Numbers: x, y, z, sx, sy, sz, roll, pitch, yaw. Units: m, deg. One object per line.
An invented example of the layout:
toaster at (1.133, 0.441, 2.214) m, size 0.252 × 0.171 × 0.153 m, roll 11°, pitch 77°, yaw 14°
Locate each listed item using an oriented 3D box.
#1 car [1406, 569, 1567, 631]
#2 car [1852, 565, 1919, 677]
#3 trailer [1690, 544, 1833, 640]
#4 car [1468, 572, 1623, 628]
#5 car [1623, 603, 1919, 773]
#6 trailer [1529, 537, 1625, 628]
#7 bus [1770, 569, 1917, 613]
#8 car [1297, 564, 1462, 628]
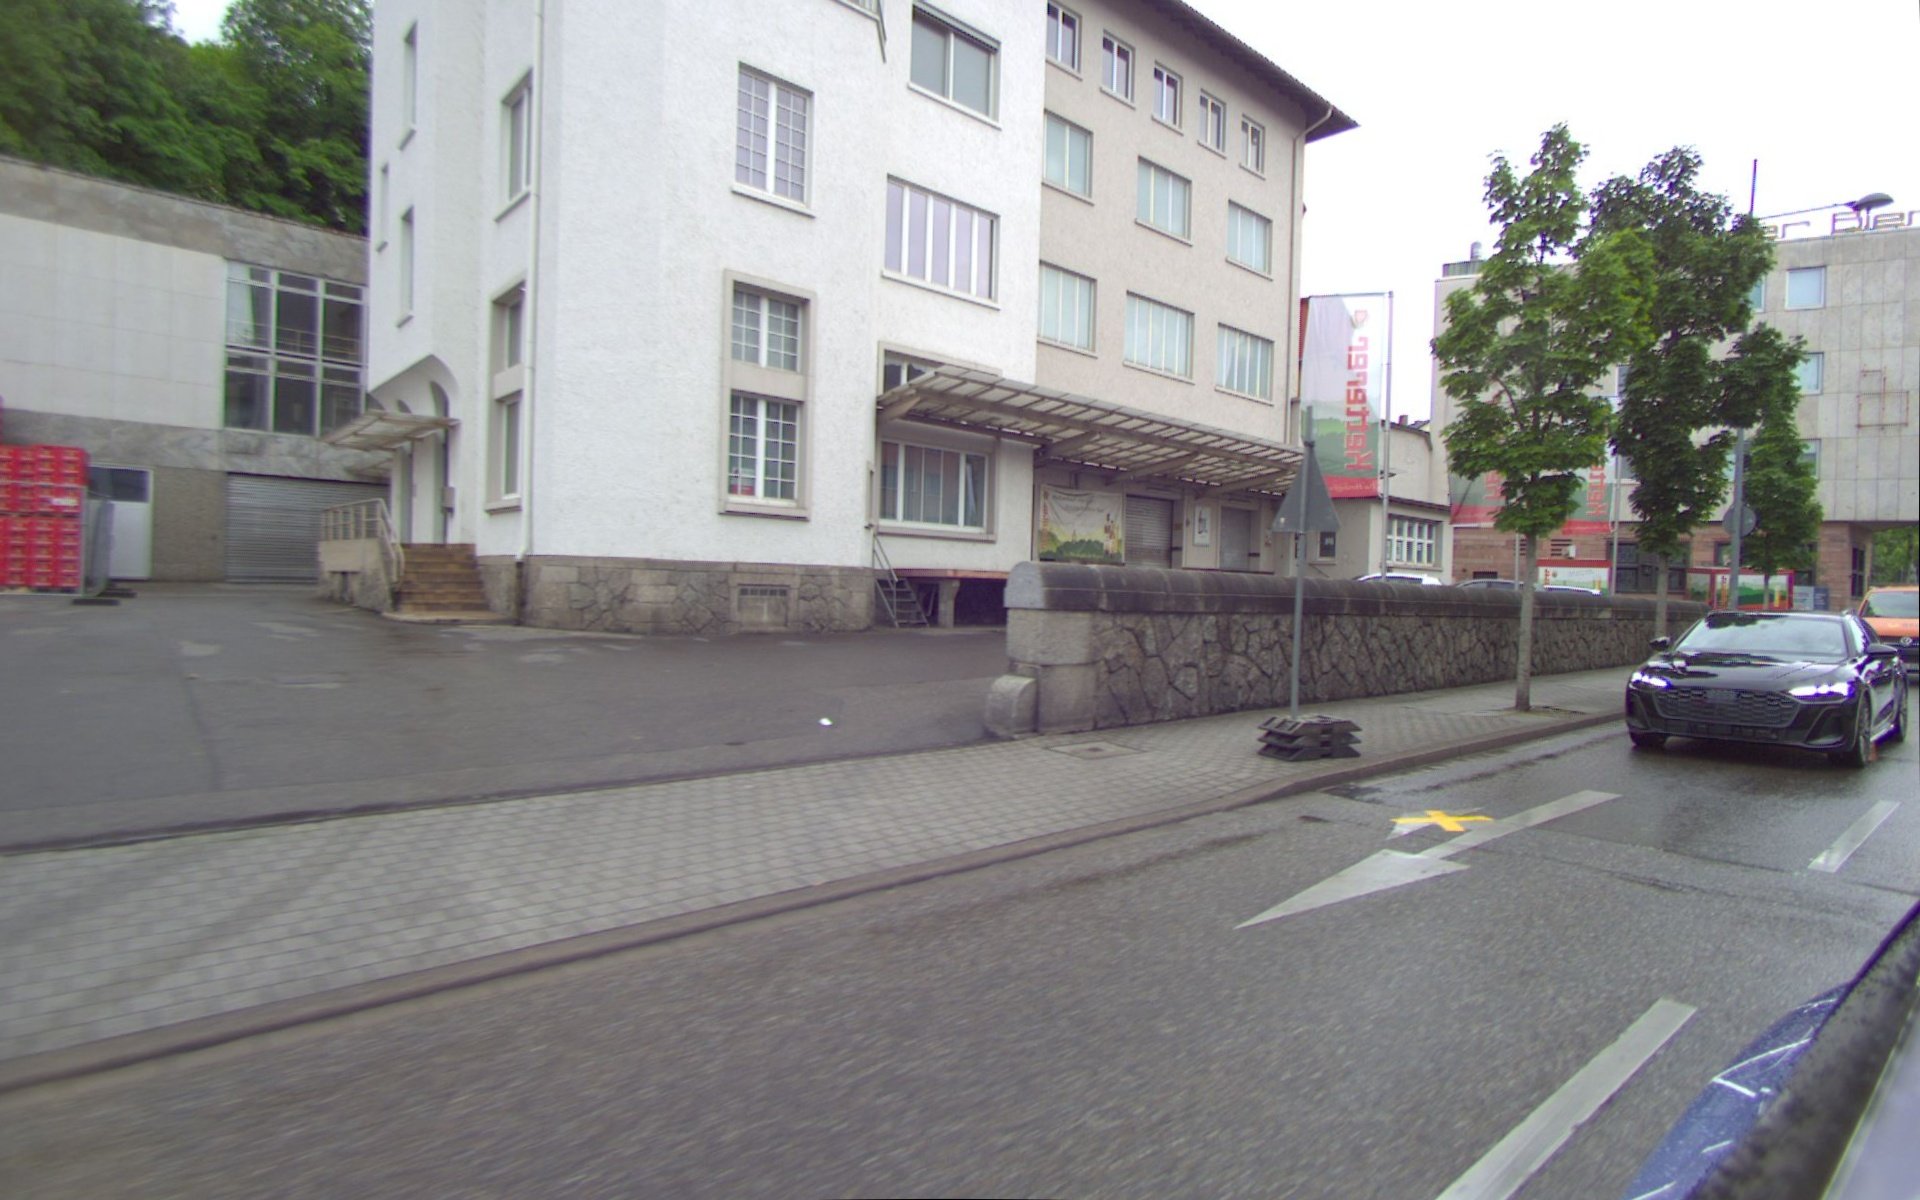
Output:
car at (15.942, -0.019, 30.862) m, size 3.942 × 1.602 × 1.764 m, roll 3°, pitch 1°, yaw 14°
car at (20.106, 0.415, 20.755) m, size 5.446 × 2.115 × 2.105 m, roll 1°, pitch 0°, yaw -42°
trailer at (29.681, -0.355, 37.760) m, size 2.607 × 3.215 × 5.673 m, roll 3°, pitch 2°, yaw 23°
car at (20.331, -0.016, 35.345) m, size 4.211 × 1.669 × 1.861 m, roll 3°, pitch 1°, yaw 12°
car at (8.812, 0.758, 10.779) m, size 4.552 × 1.421 × 1.792 m, roll 0°, pitch 0°, yaw -41°
trailer at (24.693, -0.728, 40.768) m, size 2.724 × 3.348 × 6.016 m, roll 2°, pitch 1°, yaw 27°
bus at (77.295, -0.906, 88.902) m, size 2.648 × 3.256 × 9.684 m, roll 3°, pitch 2°, yaw -16°
car at (11.886, -0.100, 28.917) m, size 3.915 × 1.588 × 1.922 m, roll 2°, pitch -1°, yaw 9°
